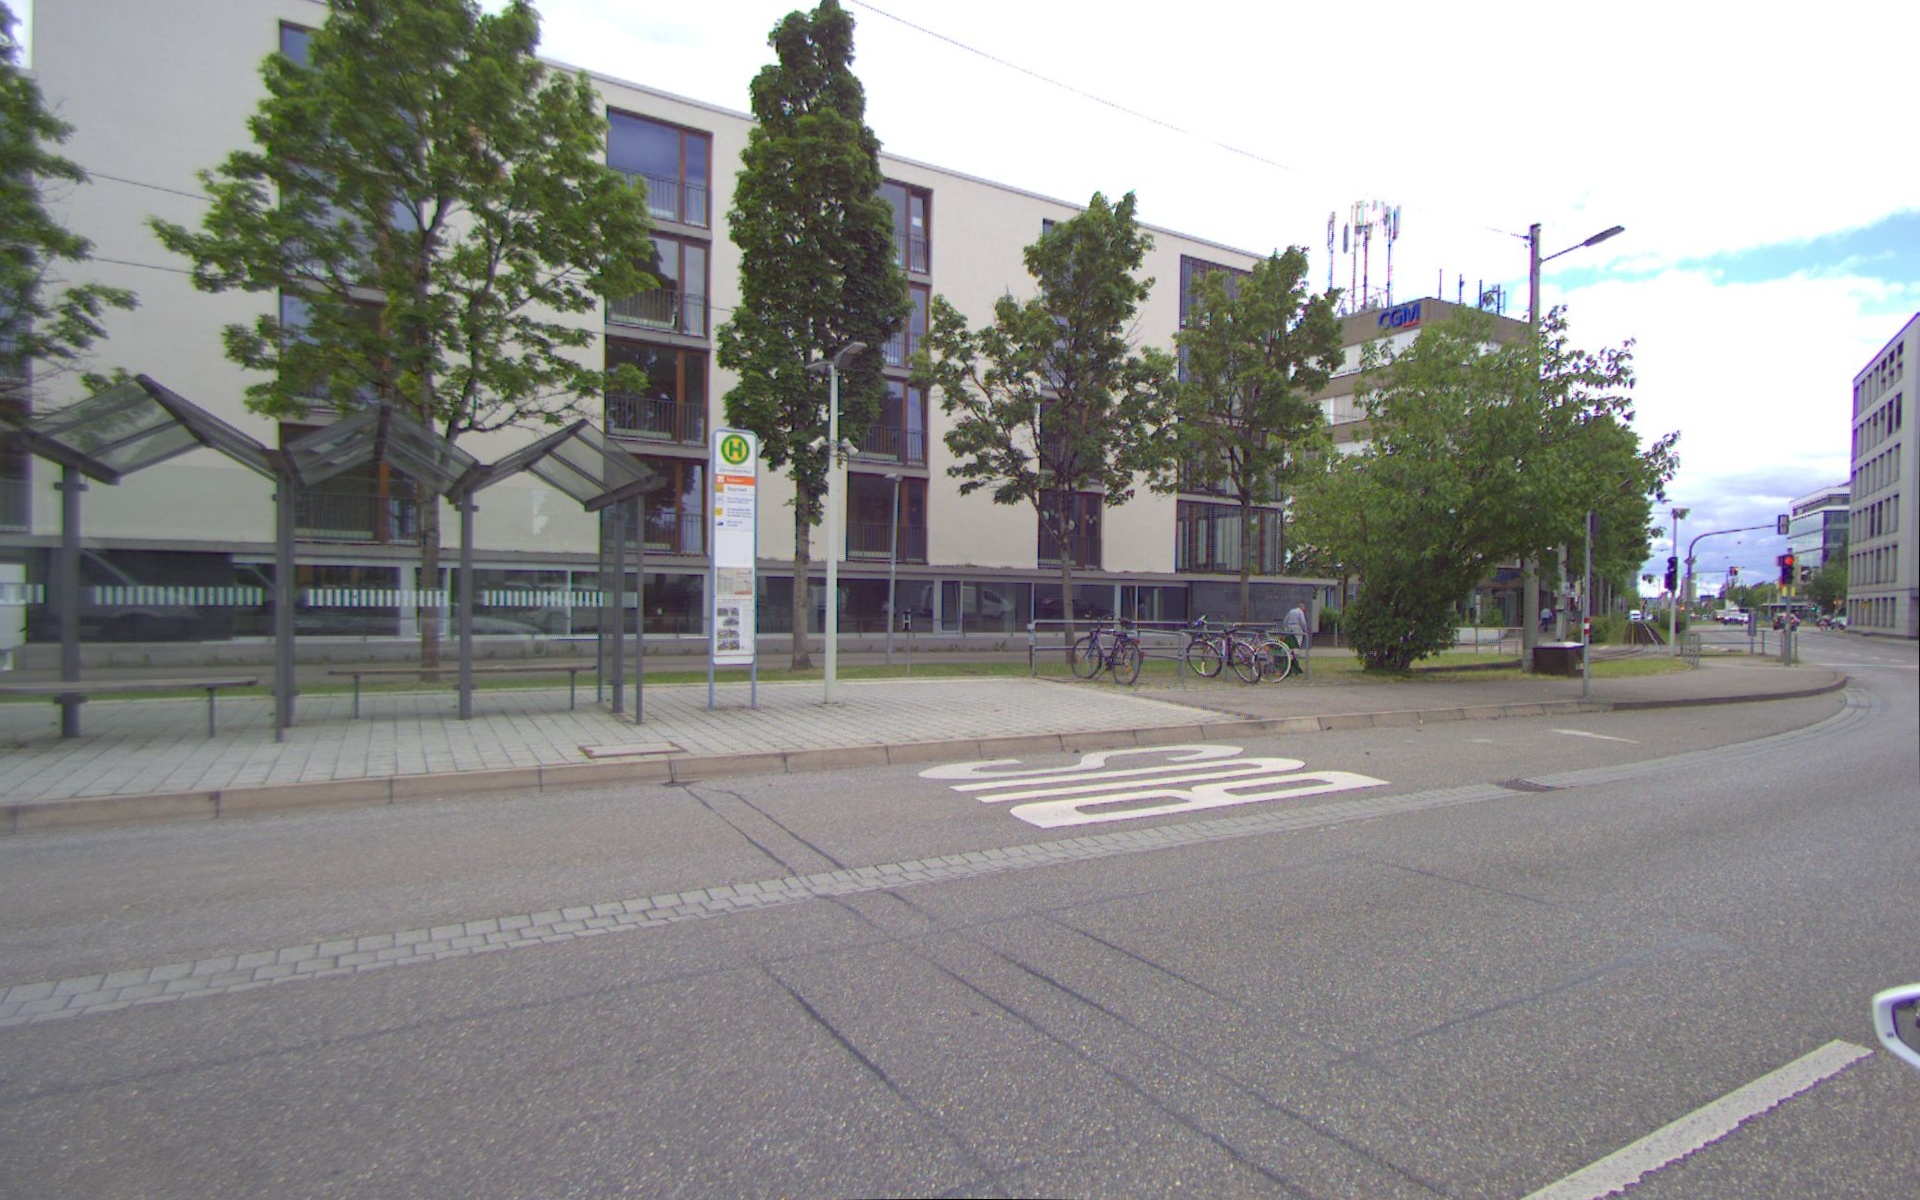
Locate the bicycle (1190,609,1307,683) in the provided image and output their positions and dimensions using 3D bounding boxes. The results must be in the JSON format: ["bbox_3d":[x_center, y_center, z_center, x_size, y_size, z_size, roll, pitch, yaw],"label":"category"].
[{"bbox_3d":[4.937,0.758,17.357,0.624,1.121,2.089,1,1,-29],"label":"bicycle"}]

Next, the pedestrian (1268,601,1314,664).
[{"bbox_3d":[9.943,0.969,30.154,0.896,1.788,0.826,2,3,-30],"label":"pedestrian"}]

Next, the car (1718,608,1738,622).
[{"bbox_3d":[94.143,1.845,123.048,1.829,1.718,3.982,1,0,39],"label":"car"}]

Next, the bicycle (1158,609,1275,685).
[{"bbox_3d":[4.298,0.761,17.012,0.624,1.121,2.089,1,1,-29],"label":"bicycle"}]

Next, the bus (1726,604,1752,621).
[{"bbox_3d":[149.766,2.411,193.111,3.040,2.968,10.311,3,2,34],"label":"bus"}]

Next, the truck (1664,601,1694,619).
[{"bbox_3d":[119.244,1.627,166.605,2.532,2.863,6.985,1,0,23],"label":"truck"}]

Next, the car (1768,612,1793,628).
[{"bbox_3d":[84.143,2.045,102.997,1.878,1.506,3.979,1,0,41],"label":"car"}]

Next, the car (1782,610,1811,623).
[{"bbox_3d":[110.072,2.117,132.179,1.822,1.650,3.999,1,0,22],"label":"car"}]

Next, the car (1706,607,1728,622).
[{"bbox_3d":[103.929,1.981,137.895,1.824,1.948,3.993,1,0,29],"label":"car"}]

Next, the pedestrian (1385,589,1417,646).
[{"bbox_3d":[16.427,0.648,37.390,0.758,2.041,0.886,5,3,41],"label":"pedestrian"}]

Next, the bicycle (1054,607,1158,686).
[{"bbox_3d":[2.308,0.712,16.082,0.580,1.121,1.920,1,1,-29],"label":"bicycle"}]
